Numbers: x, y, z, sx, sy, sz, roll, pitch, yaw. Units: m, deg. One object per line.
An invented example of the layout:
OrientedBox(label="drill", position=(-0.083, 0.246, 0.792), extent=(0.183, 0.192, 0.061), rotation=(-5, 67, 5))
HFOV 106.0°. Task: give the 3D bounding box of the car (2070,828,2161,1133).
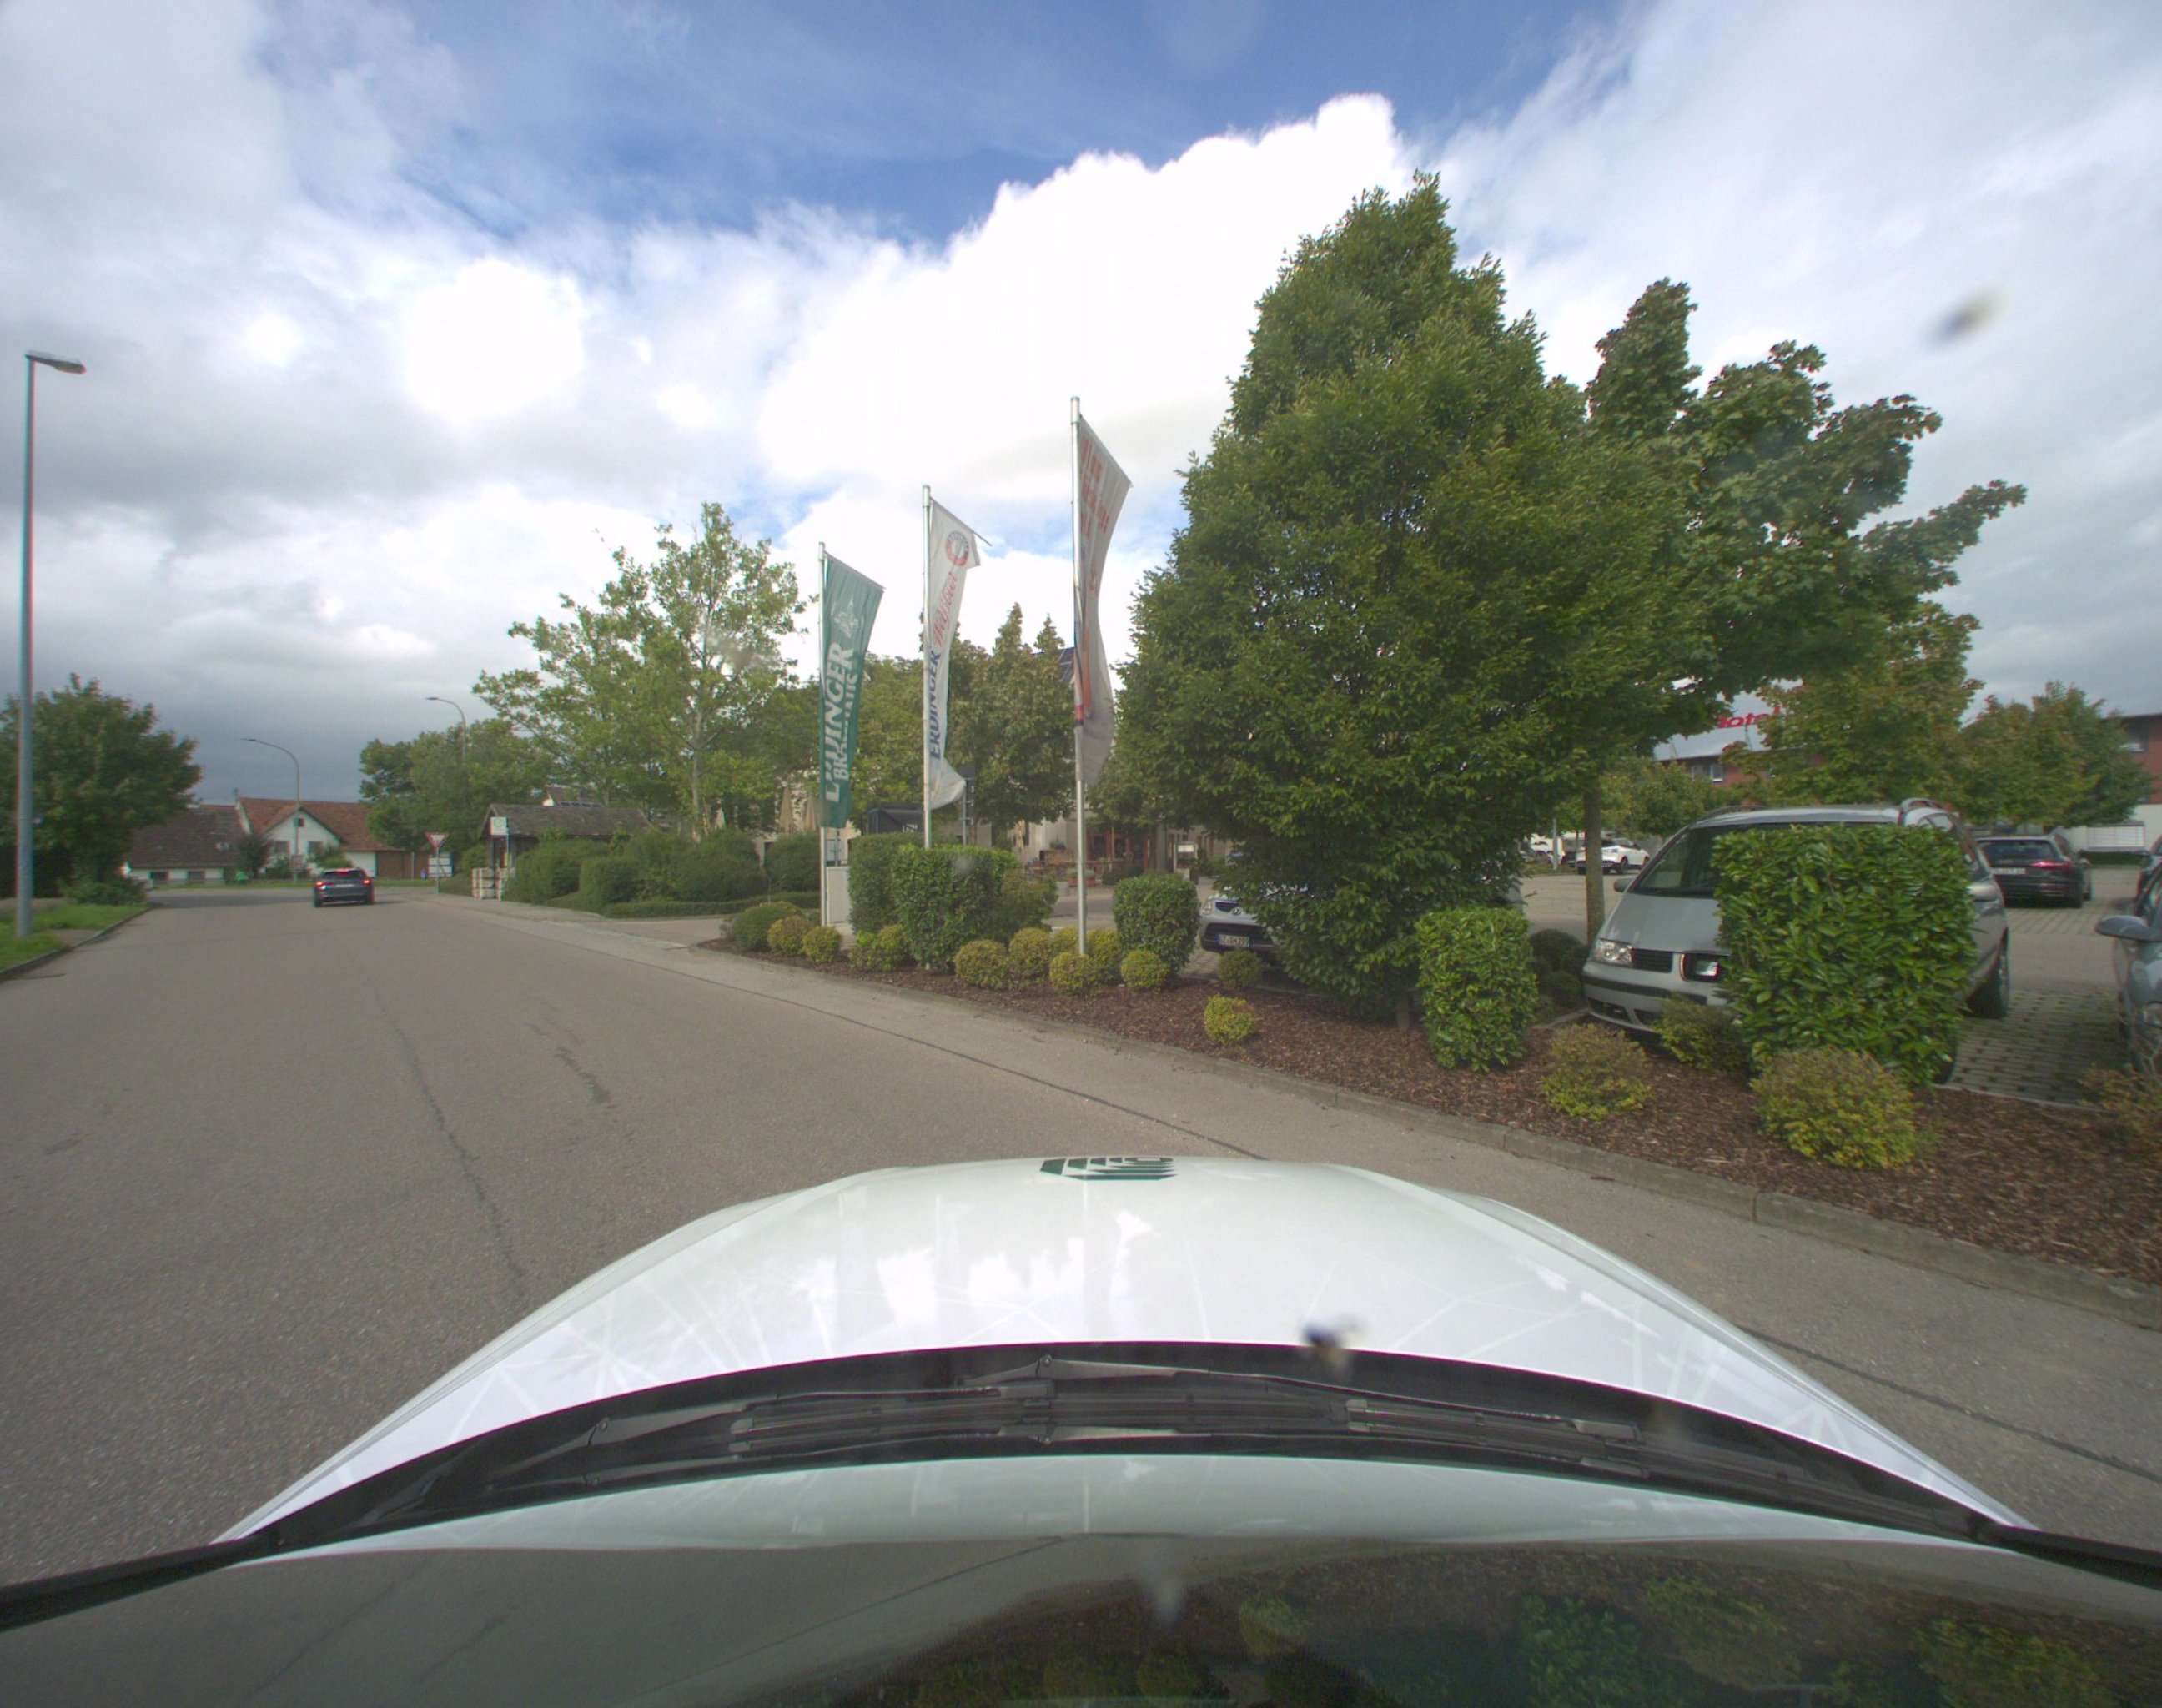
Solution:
OrientedBox(label="car", position=(6.779, 0.544, 4.230), extent=(4.016, 1.350, 1.707), rotation=(0, 0, -34))

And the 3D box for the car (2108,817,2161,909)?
OrientedBox(label="car", position=(20.429, 0.148, 14.830), extent=(4.017, 1.571, 1.978), rotation=(0, 0, -36))

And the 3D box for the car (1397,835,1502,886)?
OrientedBox(label="car", position=(12.535, 0.204, 27.597), extent=(4.021, 1.591, 1.746), rotation=(0, -1, -41))

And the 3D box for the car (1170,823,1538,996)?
OrientedBox(label="car", position=(3.557, 0.526, 10.261), extent=(4.698, 1.696, 1.898), rotation=(-2, 0, -34))

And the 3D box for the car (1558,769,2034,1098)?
OrientedBox(label="car", position=(5.565, 0.411, 6.161), extent=(4.381, 1.716, 1.639), rotation=(0, -1, -34))

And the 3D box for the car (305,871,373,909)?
OrientedBox(label="car", position=(-31.479, 1.466, 34.529), extent=(3.615, 1.462, 1.815), rotation=(-1, 0, 43))

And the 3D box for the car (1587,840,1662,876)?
OrientedBox(label="car", position=(24.118, 0.161, 36.085), extent=(3.866, 1.500, 1.802), rotation=(0, -1, -41))

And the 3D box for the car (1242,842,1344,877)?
OrientedBox(label="car", position=(10.798, 0.288, 41.788), extent=(1.759, 1.711, 5.021), rotation=(0, 0, -38))

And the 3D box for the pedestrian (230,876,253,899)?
OrientedBox(label="pedestrian", position=(-62.628, 2.505, 60.767), extent=(0.705, 1.666, 0.793), rotation=(-1, -5, 12))

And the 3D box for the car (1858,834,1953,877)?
OrientedBox(label="car", position=(29.950, 0.052, 29.547), extent=(4.261, 1.484, 1.639), rotation=(0, 0, -34))

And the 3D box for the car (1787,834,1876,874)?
OrientedBox(label="car", position=(29.402, -0.012, 31.872), extent=(4.261, 1.484, 1.639), rotation=(0, 0, -34))

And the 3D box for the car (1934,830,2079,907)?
OrientedBox(label="car", position=(19.306, 0.265, 16.946), extent=(4.296, 1.428, 1.702), rotation=(0, 0, -38))
